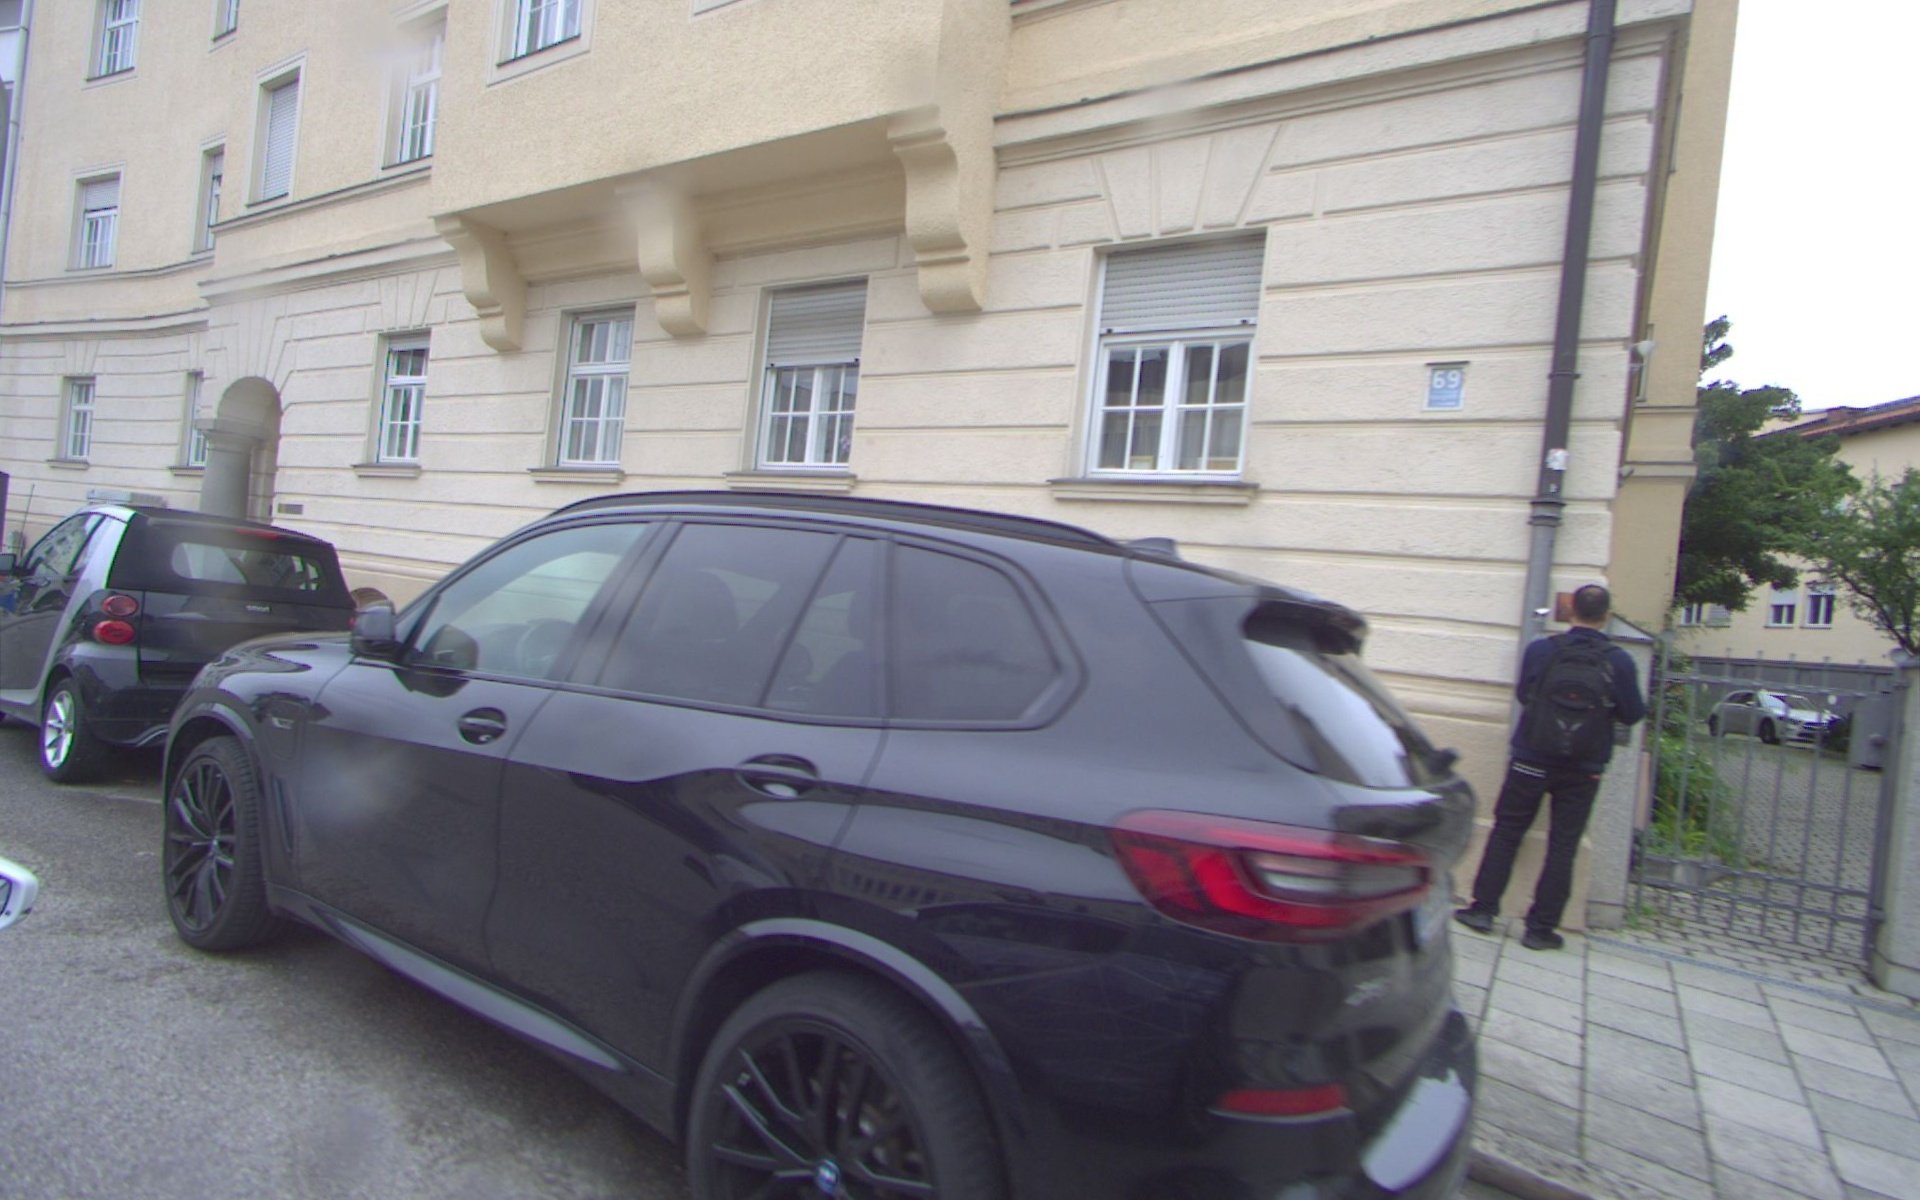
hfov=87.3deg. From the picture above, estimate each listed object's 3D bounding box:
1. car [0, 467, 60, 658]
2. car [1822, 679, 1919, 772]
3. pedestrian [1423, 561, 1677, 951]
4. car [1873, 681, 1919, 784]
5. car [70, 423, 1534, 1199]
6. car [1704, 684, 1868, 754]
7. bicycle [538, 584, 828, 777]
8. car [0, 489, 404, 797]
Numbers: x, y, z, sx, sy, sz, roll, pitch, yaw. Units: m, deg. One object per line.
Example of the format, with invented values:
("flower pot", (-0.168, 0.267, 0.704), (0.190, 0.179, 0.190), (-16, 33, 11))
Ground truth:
("car", (-10.751, -0.552, 9.861), (3.670, 1.750, 1.840), (5, -2, 33))
("car", (18.542, 2.503, 18.729), (3.620, 1.562, 1.675), (7, -2, -6))
("pedestrian", (2.933, 0.745, 5.031), (0.677, 1.781, 0.689), (7, -2, -26))
("car", (17.047, 2.358, 15.980), (3.620, 1.563, 1.673), (7, 0, -6))
("car", (-0.854, 0.537, 3.398), (4.611, 1.750, 1.931), (7, -1, 33))
("car", (22.197, 3.149, 27.241), (1.747, 1.480, 3.859), (6, -3, 12))
("bicycle", (-2.410, 0.621, 8.537), (2.601, 1.261, 0.702), (6, 0, 32))
("car", (-5.231, 0.210, 6.630), (2.818, 1.575, 1.509), (5, -2, 35))
